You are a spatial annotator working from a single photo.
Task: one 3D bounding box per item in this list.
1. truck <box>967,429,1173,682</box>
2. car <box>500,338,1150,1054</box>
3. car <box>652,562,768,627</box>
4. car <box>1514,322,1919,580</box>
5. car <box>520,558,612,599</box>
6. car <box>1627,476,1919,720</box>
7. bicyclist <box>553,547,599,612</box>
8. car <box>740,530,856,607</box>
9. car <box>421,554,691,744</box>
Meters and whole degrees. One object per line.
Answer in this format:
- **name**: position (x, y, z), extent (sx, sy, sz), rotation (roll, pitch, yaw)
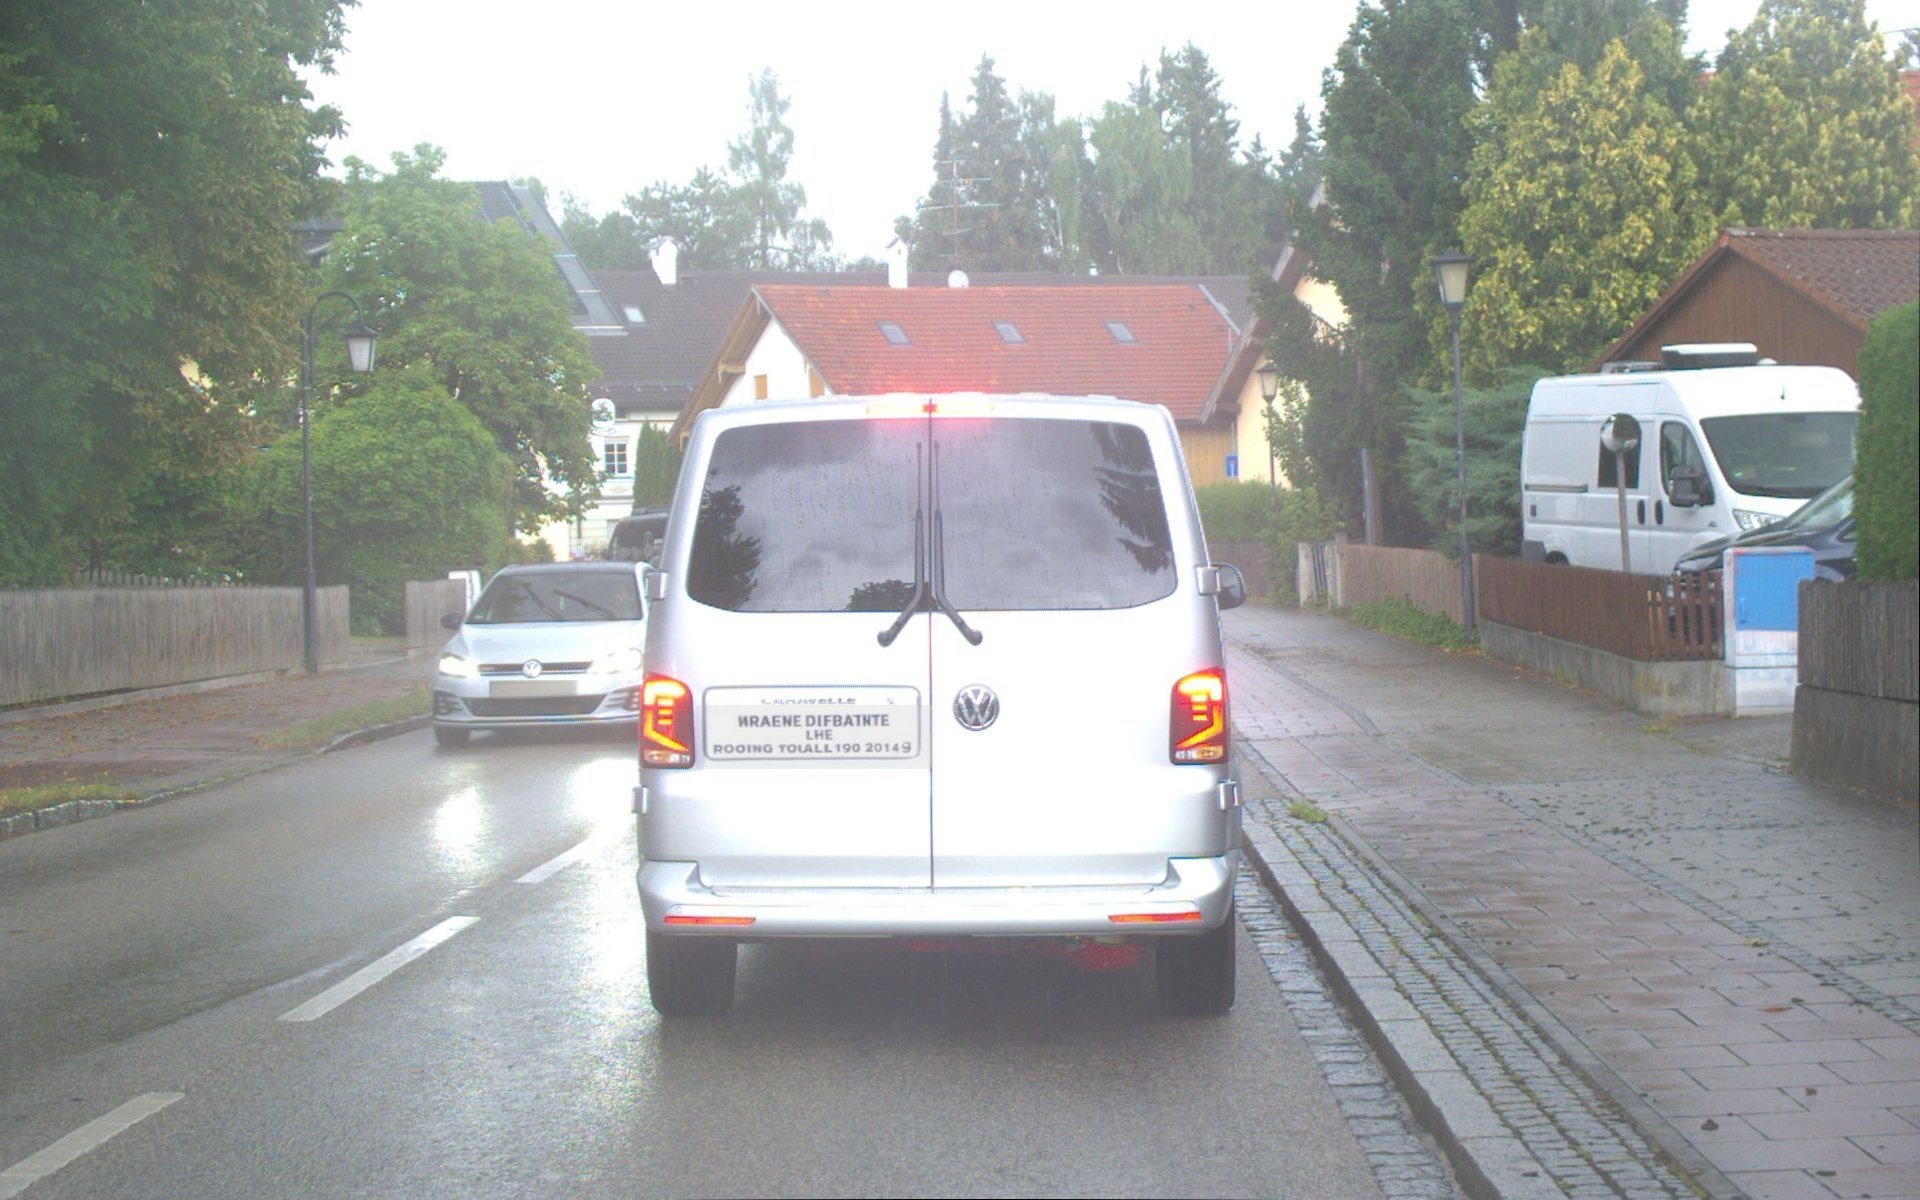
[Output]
- **truck**: position (1.384, -0.550, 45.183), extent (2.475, 3.063, 6.296), rotation (1, 0, 1)
- **car**: position (-0.277, 0.261, 11.737), extent (1.801, 2.007, 3.999), rotation (1, 0, 4)
- **car**: position (-6.309, -0.130, 86.450), extent (1.827, 1.553, 4.178), rotation (-1, 0, -19)
- **car**: position (6.986, -1.282, 31.802), extent (1.993, 2.166, 4.954), rotation (1, 0, -12)
- **car**: position (-12.784, -0.701, 111.395), extent (1.780, 1.306, 3.776), rotation (1, 0, -26)
- **car**: position (7.419, -0.067, 26.707), extent (4.093, 1.745, 1.695), rotation (-1, 3, -2)
- **bicyclist**: position (-6.118, -0.331, 54.825), extent (0.587, 1.018, 1.060), rotation (0, 1, 1)
- **car**: position (-4.354, -0.833, 91.708), extent (1.993, 2.007, 4.001), rotation (1, 0, -19)
- **car**: position (-3.256, 0.372, 28.391), extent (1.716, 1.437, 4.000), rotation (1, 0, 0)
